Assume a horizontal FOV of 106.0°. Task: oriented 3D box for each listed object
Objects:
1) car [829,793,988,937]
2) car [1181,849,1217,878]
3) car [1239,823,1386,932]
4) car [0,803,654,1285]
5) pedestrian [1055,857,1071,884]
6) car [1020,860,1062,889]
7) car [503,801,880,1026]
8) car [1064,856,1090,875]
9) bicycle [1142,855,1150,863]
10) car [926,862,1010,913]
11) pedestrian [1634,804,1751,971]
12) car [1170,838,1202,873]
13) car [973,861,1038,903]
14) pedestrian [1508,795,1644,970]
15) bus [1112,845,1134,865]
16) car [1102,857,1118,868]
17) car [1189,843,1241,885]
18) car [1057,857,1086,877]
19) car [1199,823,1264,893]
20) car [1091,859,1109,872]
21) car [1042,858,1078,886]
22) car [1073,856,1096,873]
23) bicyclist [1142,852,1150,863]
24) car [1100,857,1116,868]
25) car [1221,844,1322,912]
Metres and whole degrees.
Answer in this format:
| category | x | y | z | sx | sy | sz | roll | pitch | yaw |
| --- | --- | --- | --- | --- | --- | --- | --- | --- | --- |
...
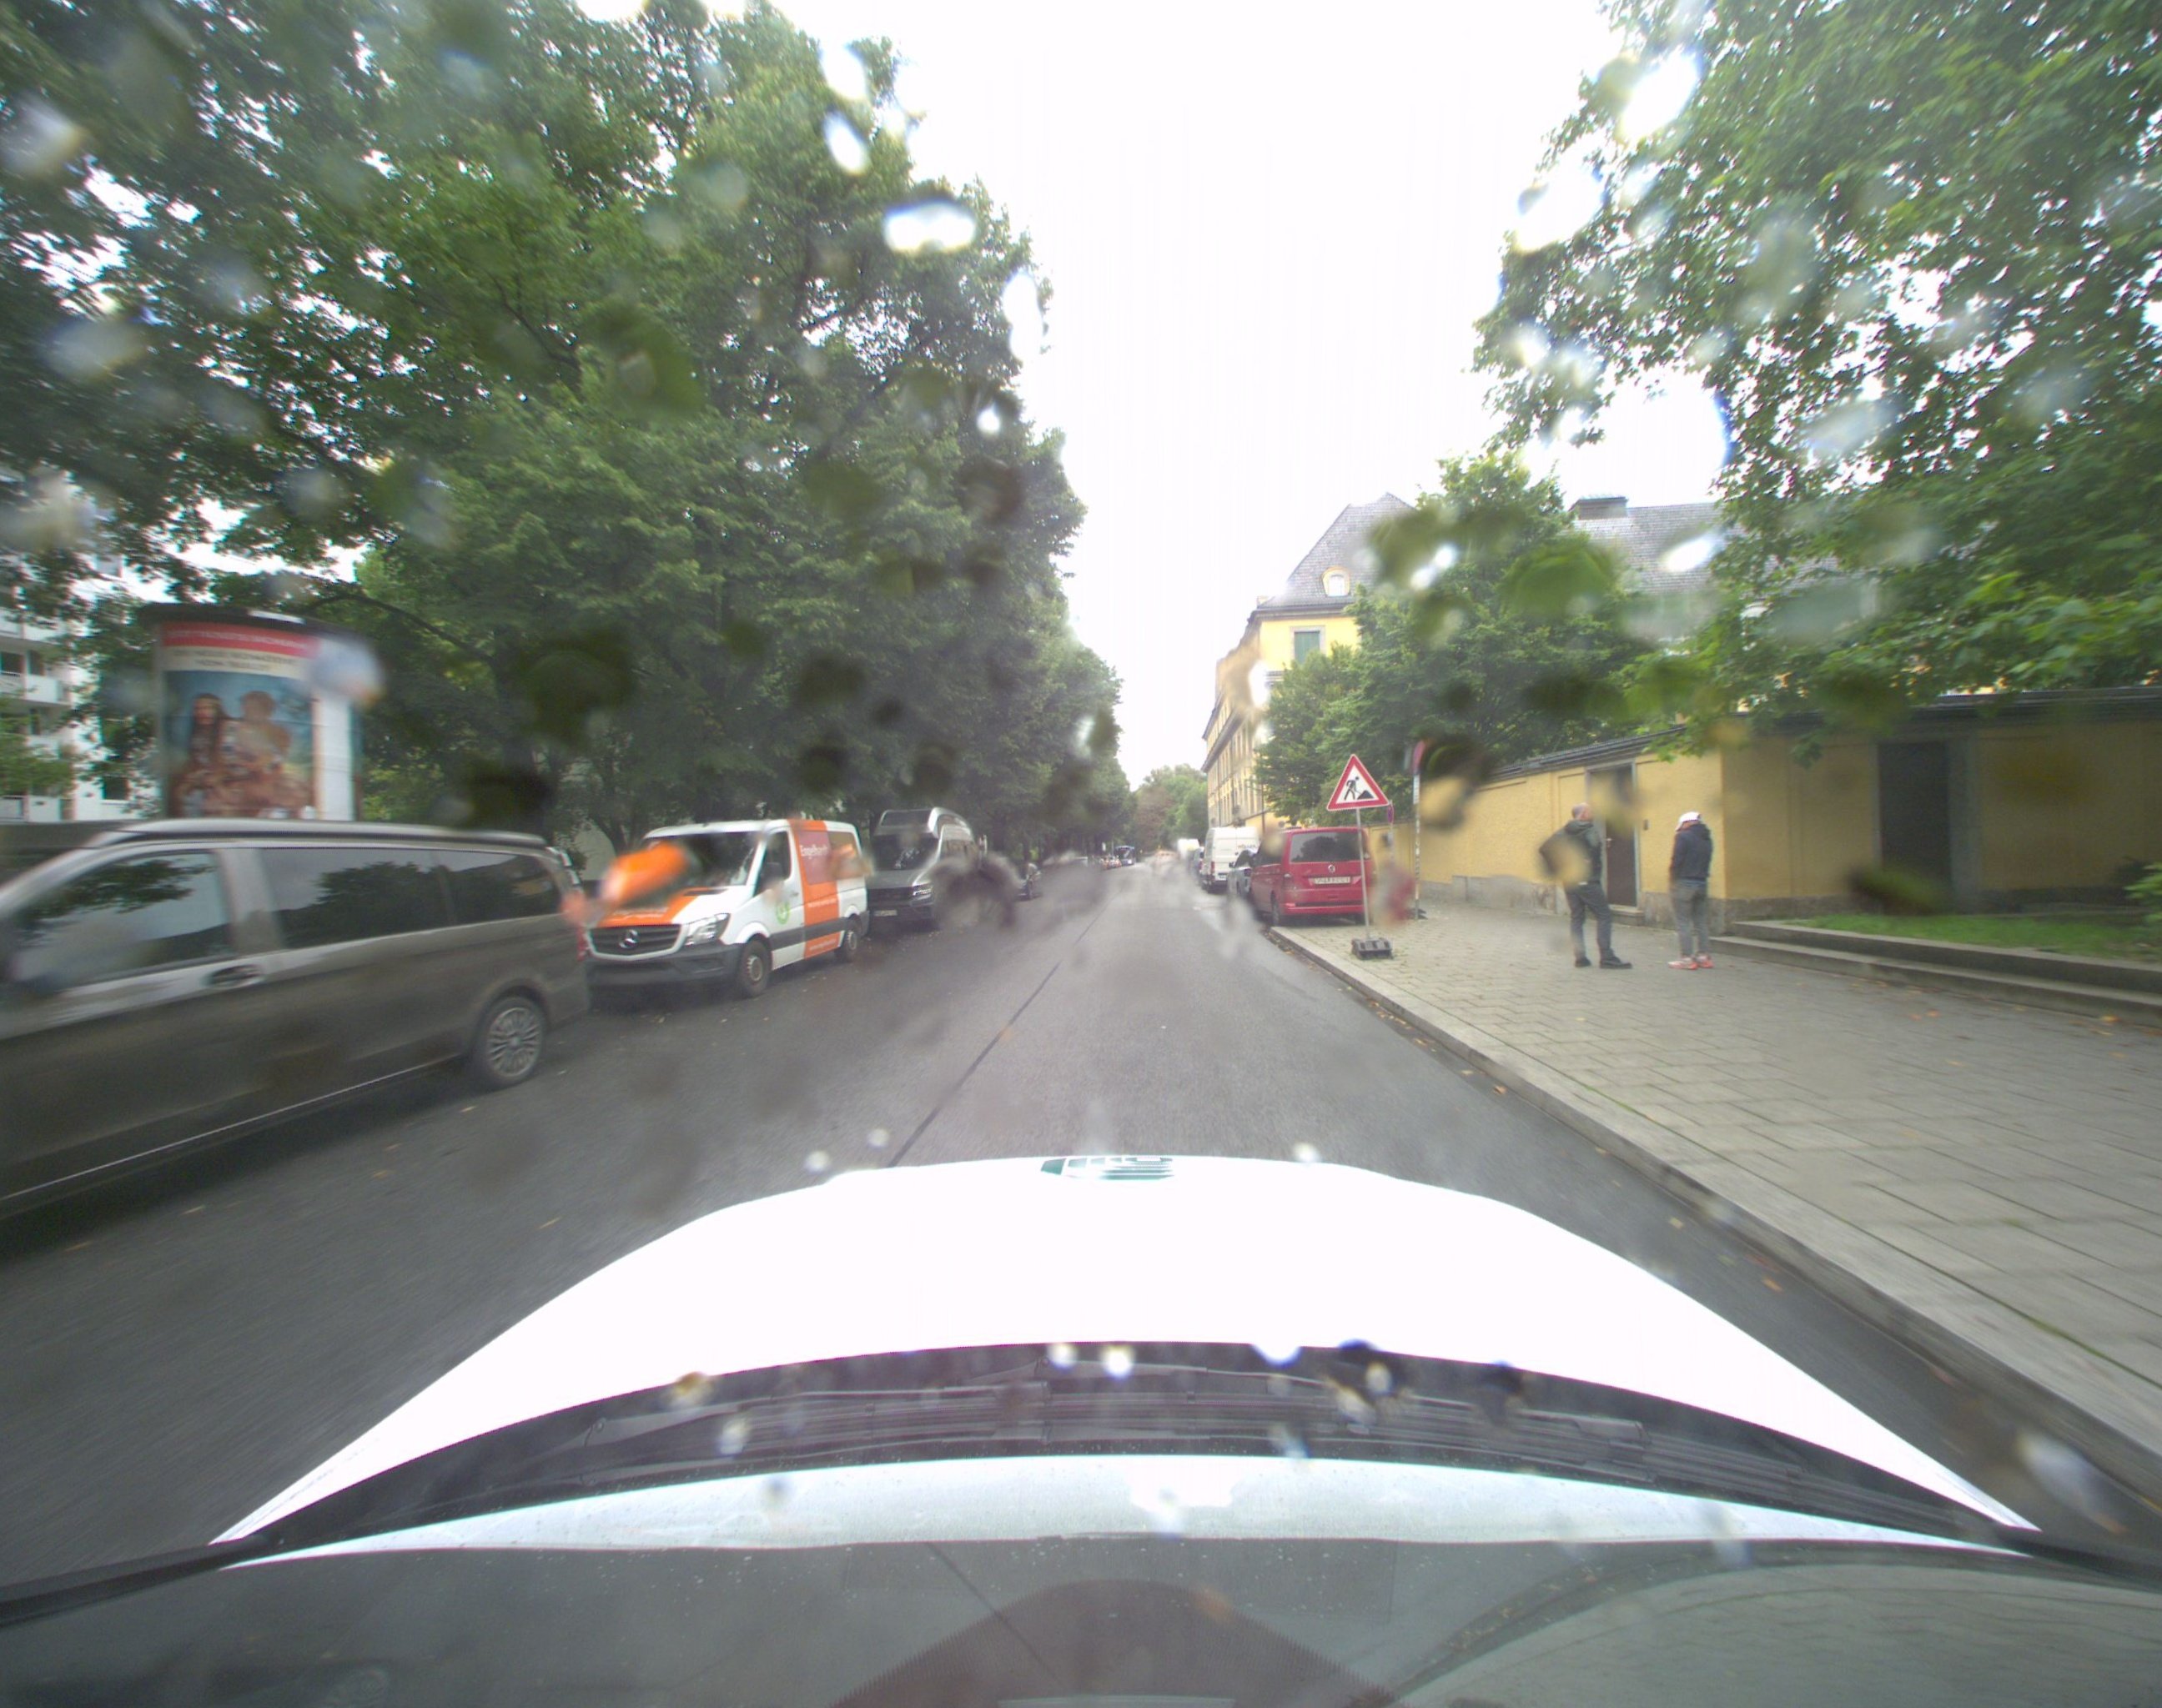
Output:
| category | x | y | z | sx | sy | sz | roll | pitch | yaw |
| --- | --- | --- | --- | --- | --- | --- | --- | --- | --- |
| car | -4.045 | 0.246 | 20.510 | 2.163 | 3.002 | 6.240 | -2 | 0 | 4 |
| car | 7.314 | 0.553 | 50.781 | 1.787 | 1.679 | 4.003 | -2 | 0 | 2 |
| car | 4.727 | 0.440 | 17.438 | 1.903 | 1.937 | 4.972 | -2 | 0 | 3 |
| car | -5.226 | 0.808 | 4.842 | 2.017 | 1.908 | 5.672 | -3 | 0 | 3 |
| pedestrian | -1.093 | 0.971 | 48.193 | 0.882 | 1.598 | 0.822 | -2 | -1 | -3 |
| car | -2.178 | 1.105 | 45.360 | 1.986 | 1.487 | 4.131 | -2 | 0 | 2 |
| car | -4.844 | 0.641 | 11.447 | 2.074 | 2.264 | 5.610 | -4 | 0 | 5 |
| car | -0.312 | 0.919 | 67.643 | 1.986 | 1.420 | 4.002 | -2 | 0 | 2 |
| bicycle | 9.423 | 0.766 | 118.266 | 1.016 | 1.157 | 2.489 | -2 | 0 | 5 |
| car | -3.536 | 1.022 | 26.275 | 1.986 | 1.420 | 4.002 | -2 | 0 | 2 |
| pedestrian | 6.428 | 0.334 | 8.581 | 0.635 | 1.667 | 0.693 | -2 | 0 | -18 |
| car | 8.262 | 0.118 | 64.582 | 1.834 | 2.622 | 4.382 | -2 | 0 | -1 |
| car | -2.871 | 1.042 | 31.801 | 1.986 | 1.420 | 4.131 | -2 | 0 | 2 |
| pedestrian | 5.530 | 0.296 | 9.137 | 0.823 | 1.836 | 0.945 | -2 | 0 | -23 |
| bus | 6.609 | 0.137 | 128.900 | 2.929 | 2.919 | 8.236 | -2 | 0 | -1 |
| car | 3.943 | 1.119 | 111.071 | 1.986 | 1.420 | 4.002 | -2 | 0 | 2 |
| car | 6.521 | 0.457 | 40.000 | 1.985 | 1.883 | 4.003 | -2 | 0 | 2 |
| car | -0.655 | 0.947 | 61.876 | 1.986 | 1.420 | 4.002 | -2 | 0 | 2 |
| car | 5.985 | 0.153 | 33.015 | 1.984 | 2.558 | 5.437 | -2 | 0 | 5 |
| car | 2.242 | 1.357 | 95.713 | 1.986 | 1.420 | 4.002 | -2 | 0 | 2 |
| car | -1.316 | 1.131 | 51.852 | 1.986 | 1.620 | 4.131 | -2 | 0 | 2 |
| car | 0.351 | 0.946 | 74.043 | 1.986 | 1.420 | 4.002 | -2 | 0 | 2 |
| bicyclist | 9.425 | 0.465 | 118.318 | 1.016 | 1.545 | 1.259 | -2 | 0 | 5 |
| car | 3.493 | 1.087 | 105.233 | 1.986 | 1.420 | 4.002 | -2 | 0 | 2 |
| car | 5.178 | 0.598 | 22.733 | 1.984 | 1.634 | 4.569 | -2 | 0 | 4 |
